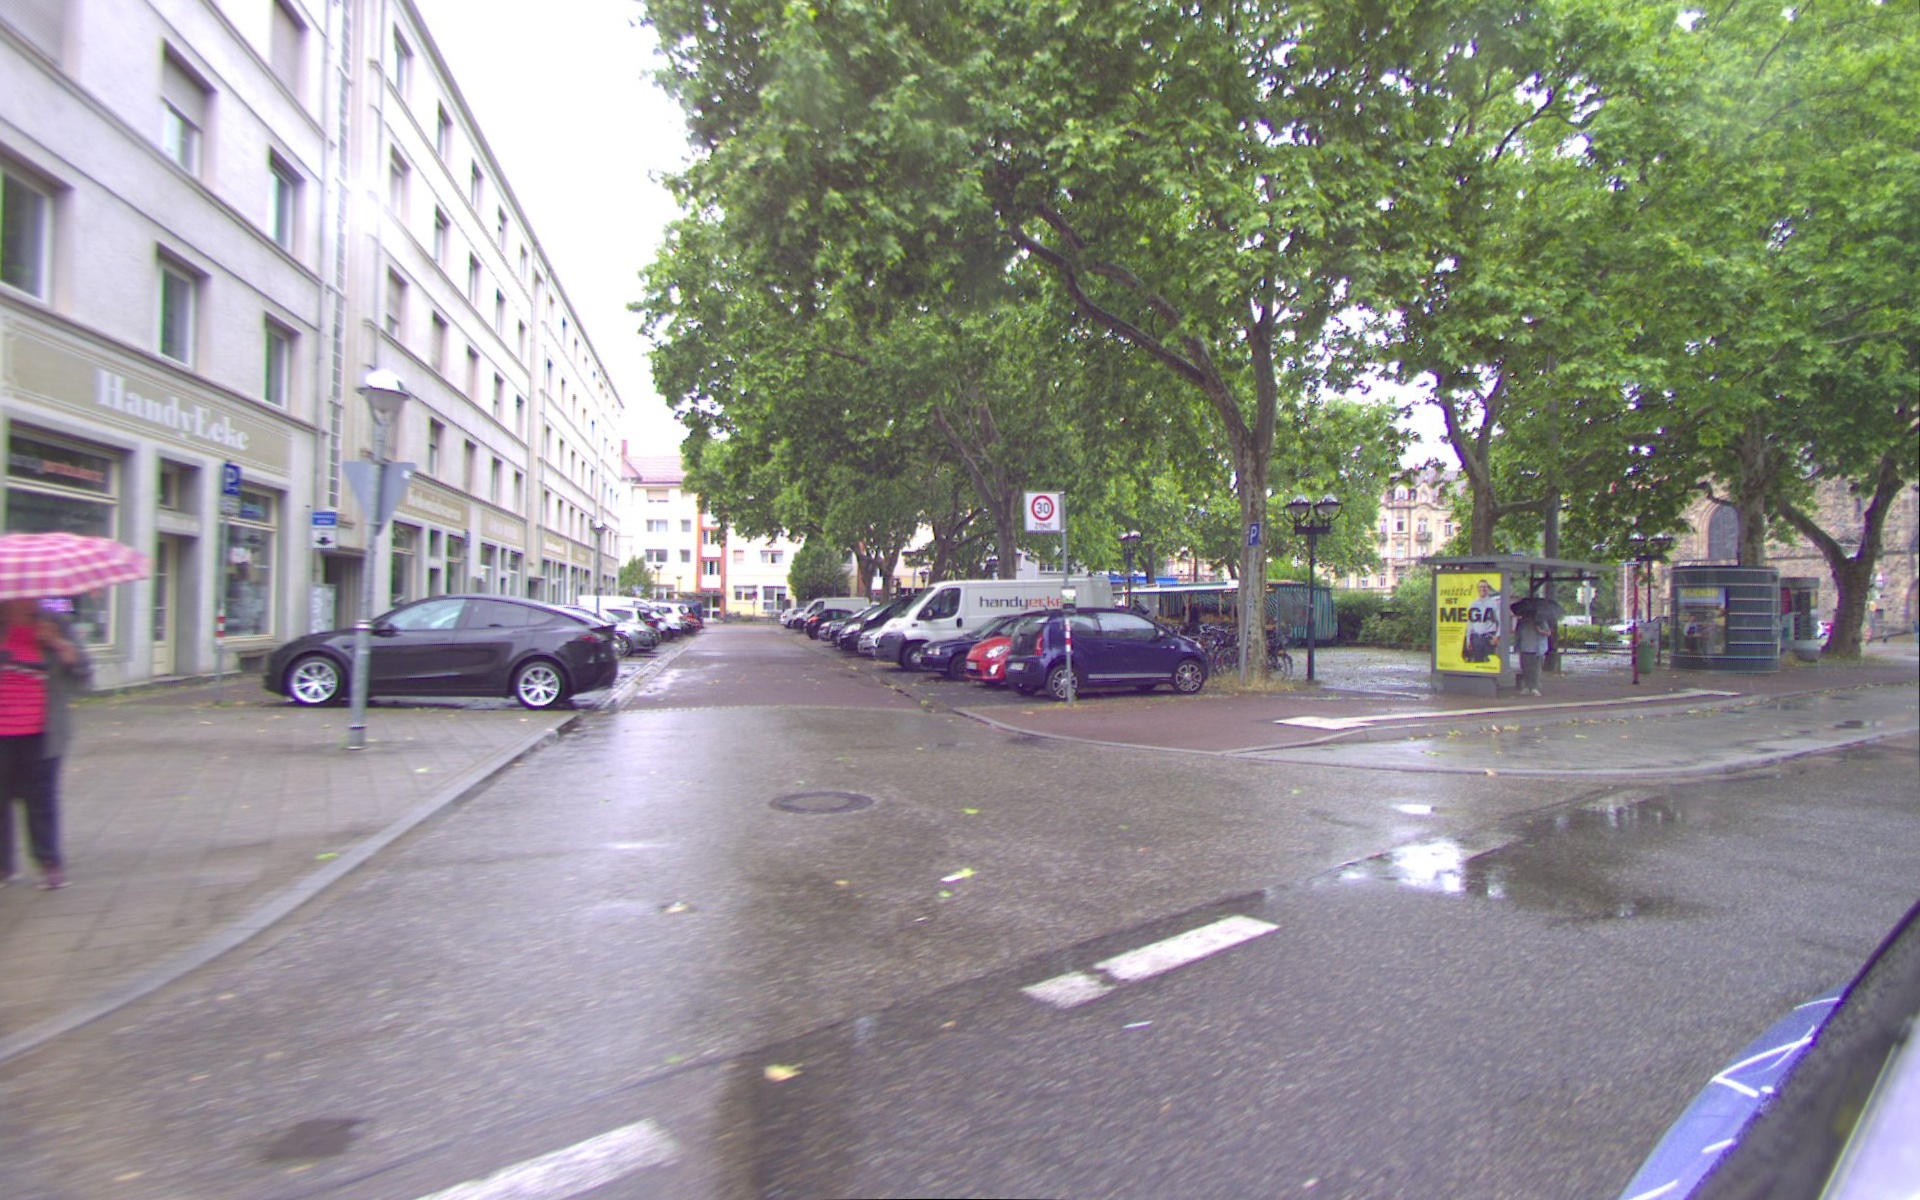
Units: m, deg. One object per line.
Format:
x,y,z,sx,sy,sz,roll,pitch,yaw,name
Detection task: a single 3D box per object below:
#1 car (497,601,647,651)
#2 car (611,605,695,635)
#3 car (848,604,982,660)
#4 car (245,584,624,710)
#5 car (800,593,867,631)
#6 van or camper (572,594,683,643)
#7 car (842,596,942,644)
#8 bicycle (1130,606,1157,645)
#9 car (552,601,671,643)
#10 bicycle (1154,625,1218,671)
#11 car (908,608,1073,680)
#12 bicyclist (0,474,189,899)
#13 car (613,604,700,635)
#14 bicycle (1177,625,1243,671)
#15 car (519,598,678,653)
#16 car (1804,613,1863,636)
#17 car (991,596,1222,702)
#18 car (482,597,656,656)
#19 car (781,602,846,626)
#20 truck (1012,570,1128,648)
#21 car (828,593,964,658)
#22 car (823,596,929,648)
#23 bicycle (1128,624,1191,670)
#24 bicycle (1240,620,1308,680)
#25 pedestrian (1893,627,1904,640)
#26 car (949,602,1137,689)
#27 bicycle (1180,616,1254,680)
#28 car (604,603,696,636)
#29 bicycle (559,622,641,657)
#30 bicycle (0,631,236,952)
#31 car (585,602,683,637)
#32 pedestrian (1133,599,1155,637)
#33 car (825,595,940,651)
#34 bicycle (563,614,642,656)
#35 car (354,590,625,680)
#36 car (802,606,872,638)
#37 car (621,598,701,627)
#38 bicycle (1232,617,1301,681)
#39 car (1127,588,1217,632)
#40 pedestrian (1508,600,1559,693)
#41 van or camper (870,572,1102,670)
-13.188,0.918,34.696,4.533,1.649,2.003,1,-3,-14,car
-17.633,1.159,58.318,4.533,1.649,2.003,1,-3,-14,car
-1.346,0.884,29.375,3.659,1.450,1.688,-2,0,-10,car
-7.384,0.692,14.785,4.533,1.649,2.003,1,-3,-14,car
-7.965,0.749,63.651,4.013,2.231,1.557,-1,0,-12,car
-14.744,0.867,45.179,4.533,2.118,2.003,1,-3,-14,van or camper
-2.872,0.812,42.383,3.917,1.861,1.843,-1,0,-12,car
7.086,0.961,39.012,0.741,1.394,2.693,1,0,15,bicycle
-14.458,0.949,42.240,4.533,1.649,2.003,1,-3,-14,car
5.328,1.111,23.987,0.523,0.981,2.263,1,0,-13,bicycle
0.622,0.906,21.669,3.194,1.353,1.591,-1,0,-12,car
-4.593,0.384,4.871,0.935,1.892,1.128,0,-2,35,bicyclist
-16.762,1.101,56.079,4.533,1.649,2.003,1,-3,-14,car
5.936,1.129,24.145,0.534,0.995,2.293,1,0,-13,bicycle
-11.290,0.843,31.970,4.533,1.649,2.003,1,-3,-14,car
67.760,1.922,78.517,3.289,1.594,1.739,-2,0,-10,car
2.462,0.762,17.151,3.449,1.570,1.697,-1,0,-21,car
-11.383,0.804,29.783,4.533,1.649,2.003,1,-3,-14,car
-10.779,1.056,74.363,4.533,1.649,2.003,1,-3,-14,car
4.073,0.335,38.847,2.220,2.734,6.413,0,0,-15,truck
-2.048,0.763,31.565,3.917,1.861,2.166,-1,0,-12,car
-3.315,0.831,39.682,3.917,1.861,1.843,-1,0,-12,car
4.667,1.084,23.854,0.573,0.981,2.258,1,0,-13,bicycle
6.727,1.044,21.764,0.488,1.210,1.770,1,-1,-15,bicycle
66.678,2.407,71.891,0.388,0.895,0.457,1,-1,-16,pedestrian
1.628,0.826,19.720,3.320,1.475,1.532,-2,0,-26,car
5.442,0.992,21.518,0.695,1.274,1.844,1,-1,-15,bicycle
-16.339,1.041,53.615,4.533,1.649,2.003,1,-3,-14,car
-9.627,1.062,27.122,2.018,0.905,0.503,1,-1,-14,bicycle
-4.782,0.756,4.932,3.196,1.126,1.040,1,-2,36,bicycle
-16.261,1.004,50.670,4.533,1.649,2.003,1,-3,-14,car
7.114,0.672,39.092,0.736,1.415,1.042,1,0,15,pedestrian
-2.844,0.809,36.806,3.917,1.861,1.843,-1,0,-12,car
-9.768,0.965,27.686,1.983,1.113,0.538,1,-1,-14,bicycle
-9.096,0.714,20.007,4.533,1.649,2.003,1,-3,-14,car
-6.198,1.099,50.846,3.297,1.485,1.557,-1,0,-12,car
-17.994,0.776,61.084,4.533,1.649,2.003,1,-3,-14,car
6.569,1.030,21.764,0.514,1.274,1.844,1,-1,-15,bicycle
10.241,0.467,48.968,3.788,2.039,1.958,1,-1,-11,car
10.660,0.849,18.804,0.715,1.690,0.655,0,-1,40,pedestrian
0.553,0.508,24.902,5.318,2.260,2.408,1,0,-9,van or camper
